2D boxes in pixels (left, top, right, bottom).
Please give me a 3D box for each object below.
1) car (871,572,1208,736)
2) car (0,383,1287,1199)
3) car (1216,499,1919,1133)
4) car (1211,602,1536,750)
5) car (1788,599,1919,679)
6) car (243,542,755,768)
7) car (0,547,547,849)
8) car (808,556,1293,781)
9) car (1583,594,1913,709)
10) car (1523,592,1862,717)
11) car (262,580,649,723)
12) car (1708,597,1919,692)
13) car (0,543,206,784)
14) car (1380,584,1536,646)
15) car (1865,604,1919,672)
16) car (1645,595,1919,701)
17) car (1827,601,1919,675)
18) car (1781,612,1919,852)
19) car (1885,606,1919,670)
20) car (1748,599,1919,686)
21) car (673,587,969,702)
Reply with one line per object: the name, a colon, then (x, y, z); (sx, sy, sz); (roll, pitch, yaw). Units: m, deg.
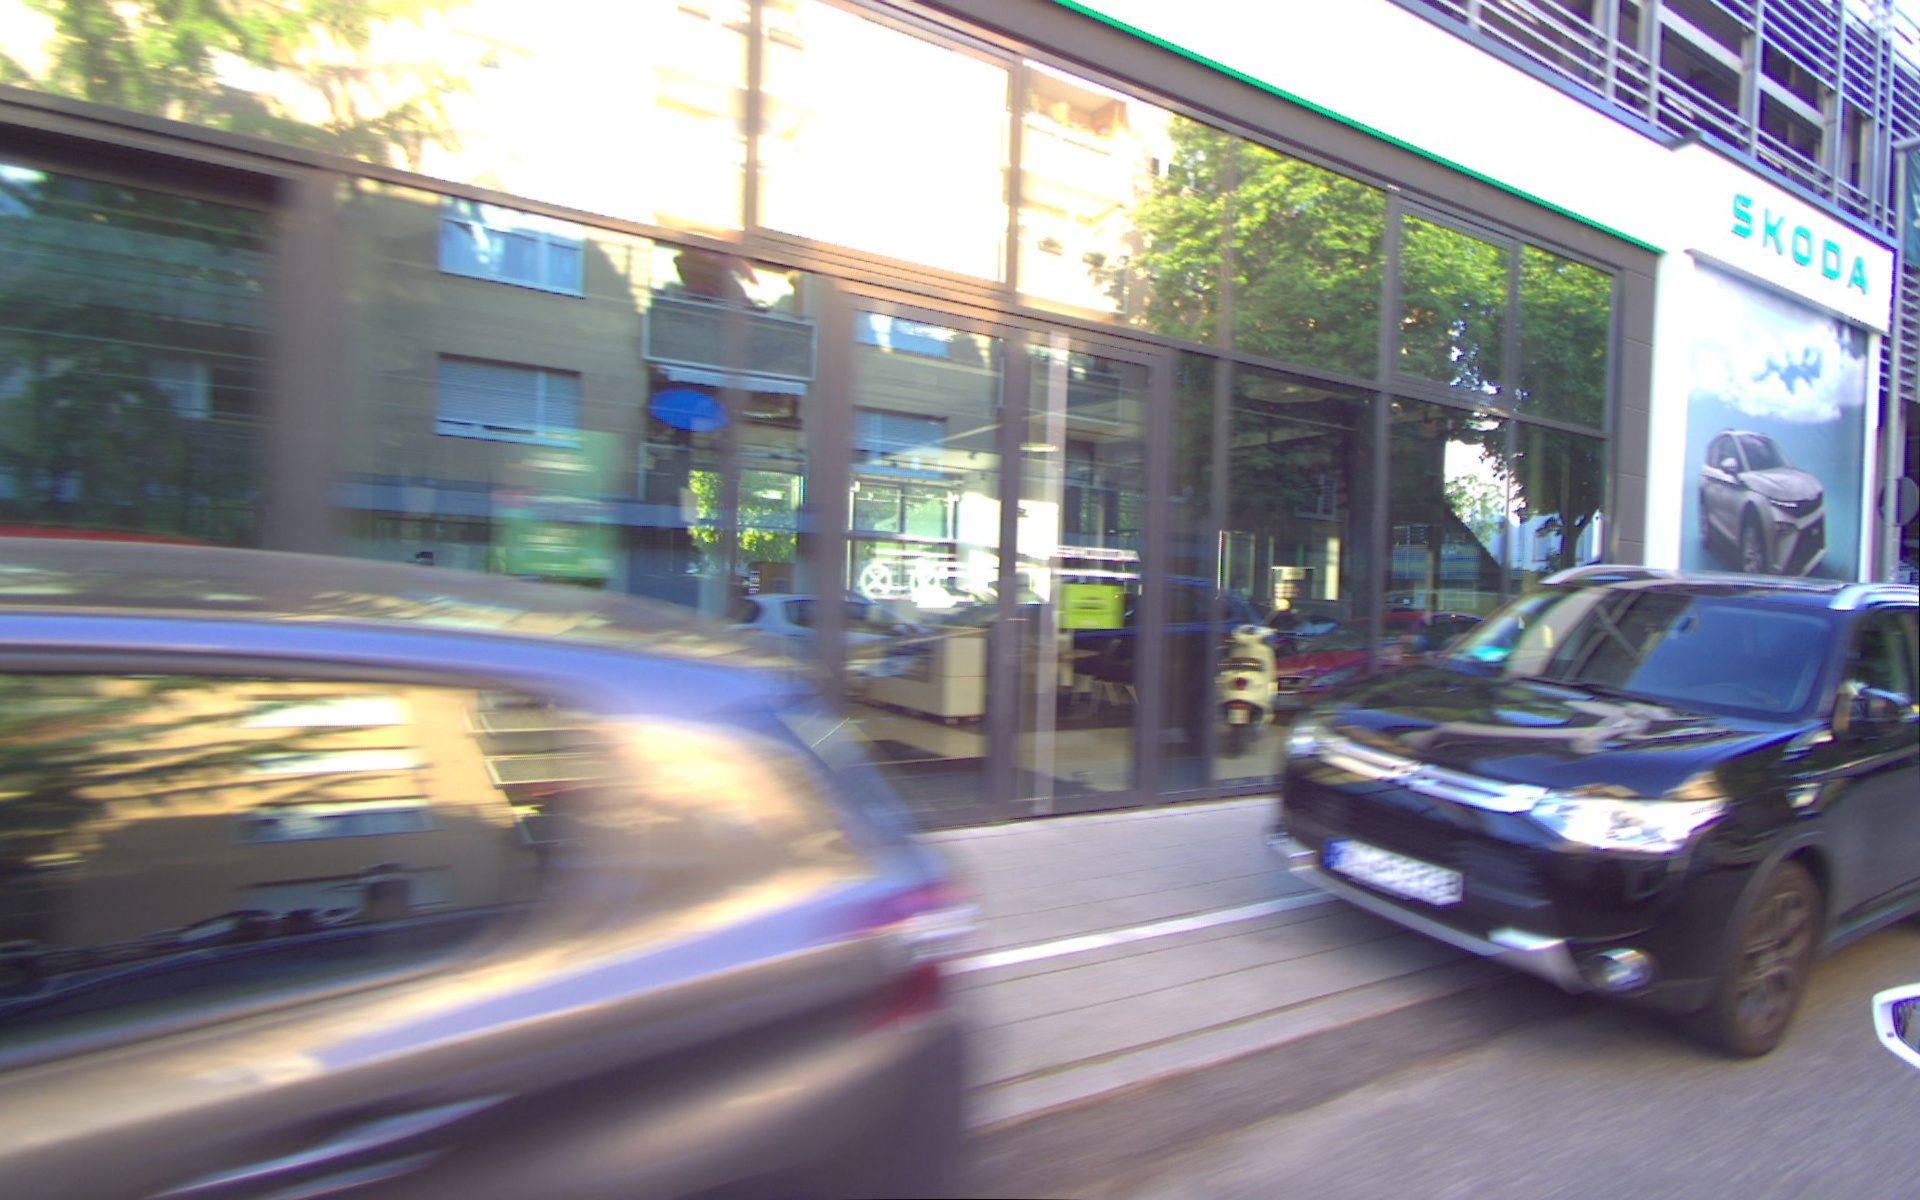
car: (0.985, 0.591, 11.956); (3.696, 1.680, 1.688); (2, 0, -32)
car: (-1.792, 0.616, 1.316); (4.154, 1.618, 1.928); (1, 1, -30)
car: (3.388, 0.631, 4.684); (4.353, 1.779, 1.688); (1, 0, -32)
car: (4.961, 0.808, 11.959); (3.739, 1.493, 1.688); (1, 0, -32)
car: (21.546, 0.863, 22.663); (1.838, 1.706, 4.007); (1, 1, -29)
car: (-4.220, 0.472, 9.580); (4.085, 1.748, 1.688); (2, 0, -32)
car: (-4.774, 0.499, 6.152); (3.948, 1.535, 1.689); (1, 0, -31)
car: (0.945, 0.538, 9.365); (4.359, 1.681, 1.688); (1, 0, -32)
car: (13.540, 0.777, 17.546); (1.838, 1.706, 4.147); (1, 1, -29)
car: (11.603, 0.758, 16.209); (1.838, 1.706, 4.024); (1, 1, -29)
car: (-5.883, 0.546, 11.975); (3.875, 1.453, 1.688); (1, 0, -32)
car: (17.751, 0.823, 20.128); (1.838, 1.706, 4.017); (1, 1, -29)
car: (-8.145, 0.413, 7.132); (4.276, 1.681, 1.688); (1, 0, -32)
car: (10.990, 0.320, 22.137); (3.485, 1.272, 1.413); (1, 1, -31)
car: (25.590, 1.002, 25.071); (1.838, 1.706, 4.084); (1, 1, -29)
car: (15.502, 0.798, 18.807); (1.838, 1.706, 4.017); (1, 1, -29)
car: (23.659, 0.930, 24.005); (1.838, 1.706, 4.065); (1, 1, -29)
car: (7.848, 0.927, 7.356); (3.748, 1.526, 1.688); (2, 0, -32)
car: (27.467, 1.073, 26.524); (1.838, 1.706, 4.084); (1, 1, -29)
car: (19.720, 0.874, 21.480); (1.838, 1.706, 4.130); (1, 1, -29)
car: (-1.958, 0.586, 14.464); (3.875, 1.453, 1.688); (1, 0, -32)
